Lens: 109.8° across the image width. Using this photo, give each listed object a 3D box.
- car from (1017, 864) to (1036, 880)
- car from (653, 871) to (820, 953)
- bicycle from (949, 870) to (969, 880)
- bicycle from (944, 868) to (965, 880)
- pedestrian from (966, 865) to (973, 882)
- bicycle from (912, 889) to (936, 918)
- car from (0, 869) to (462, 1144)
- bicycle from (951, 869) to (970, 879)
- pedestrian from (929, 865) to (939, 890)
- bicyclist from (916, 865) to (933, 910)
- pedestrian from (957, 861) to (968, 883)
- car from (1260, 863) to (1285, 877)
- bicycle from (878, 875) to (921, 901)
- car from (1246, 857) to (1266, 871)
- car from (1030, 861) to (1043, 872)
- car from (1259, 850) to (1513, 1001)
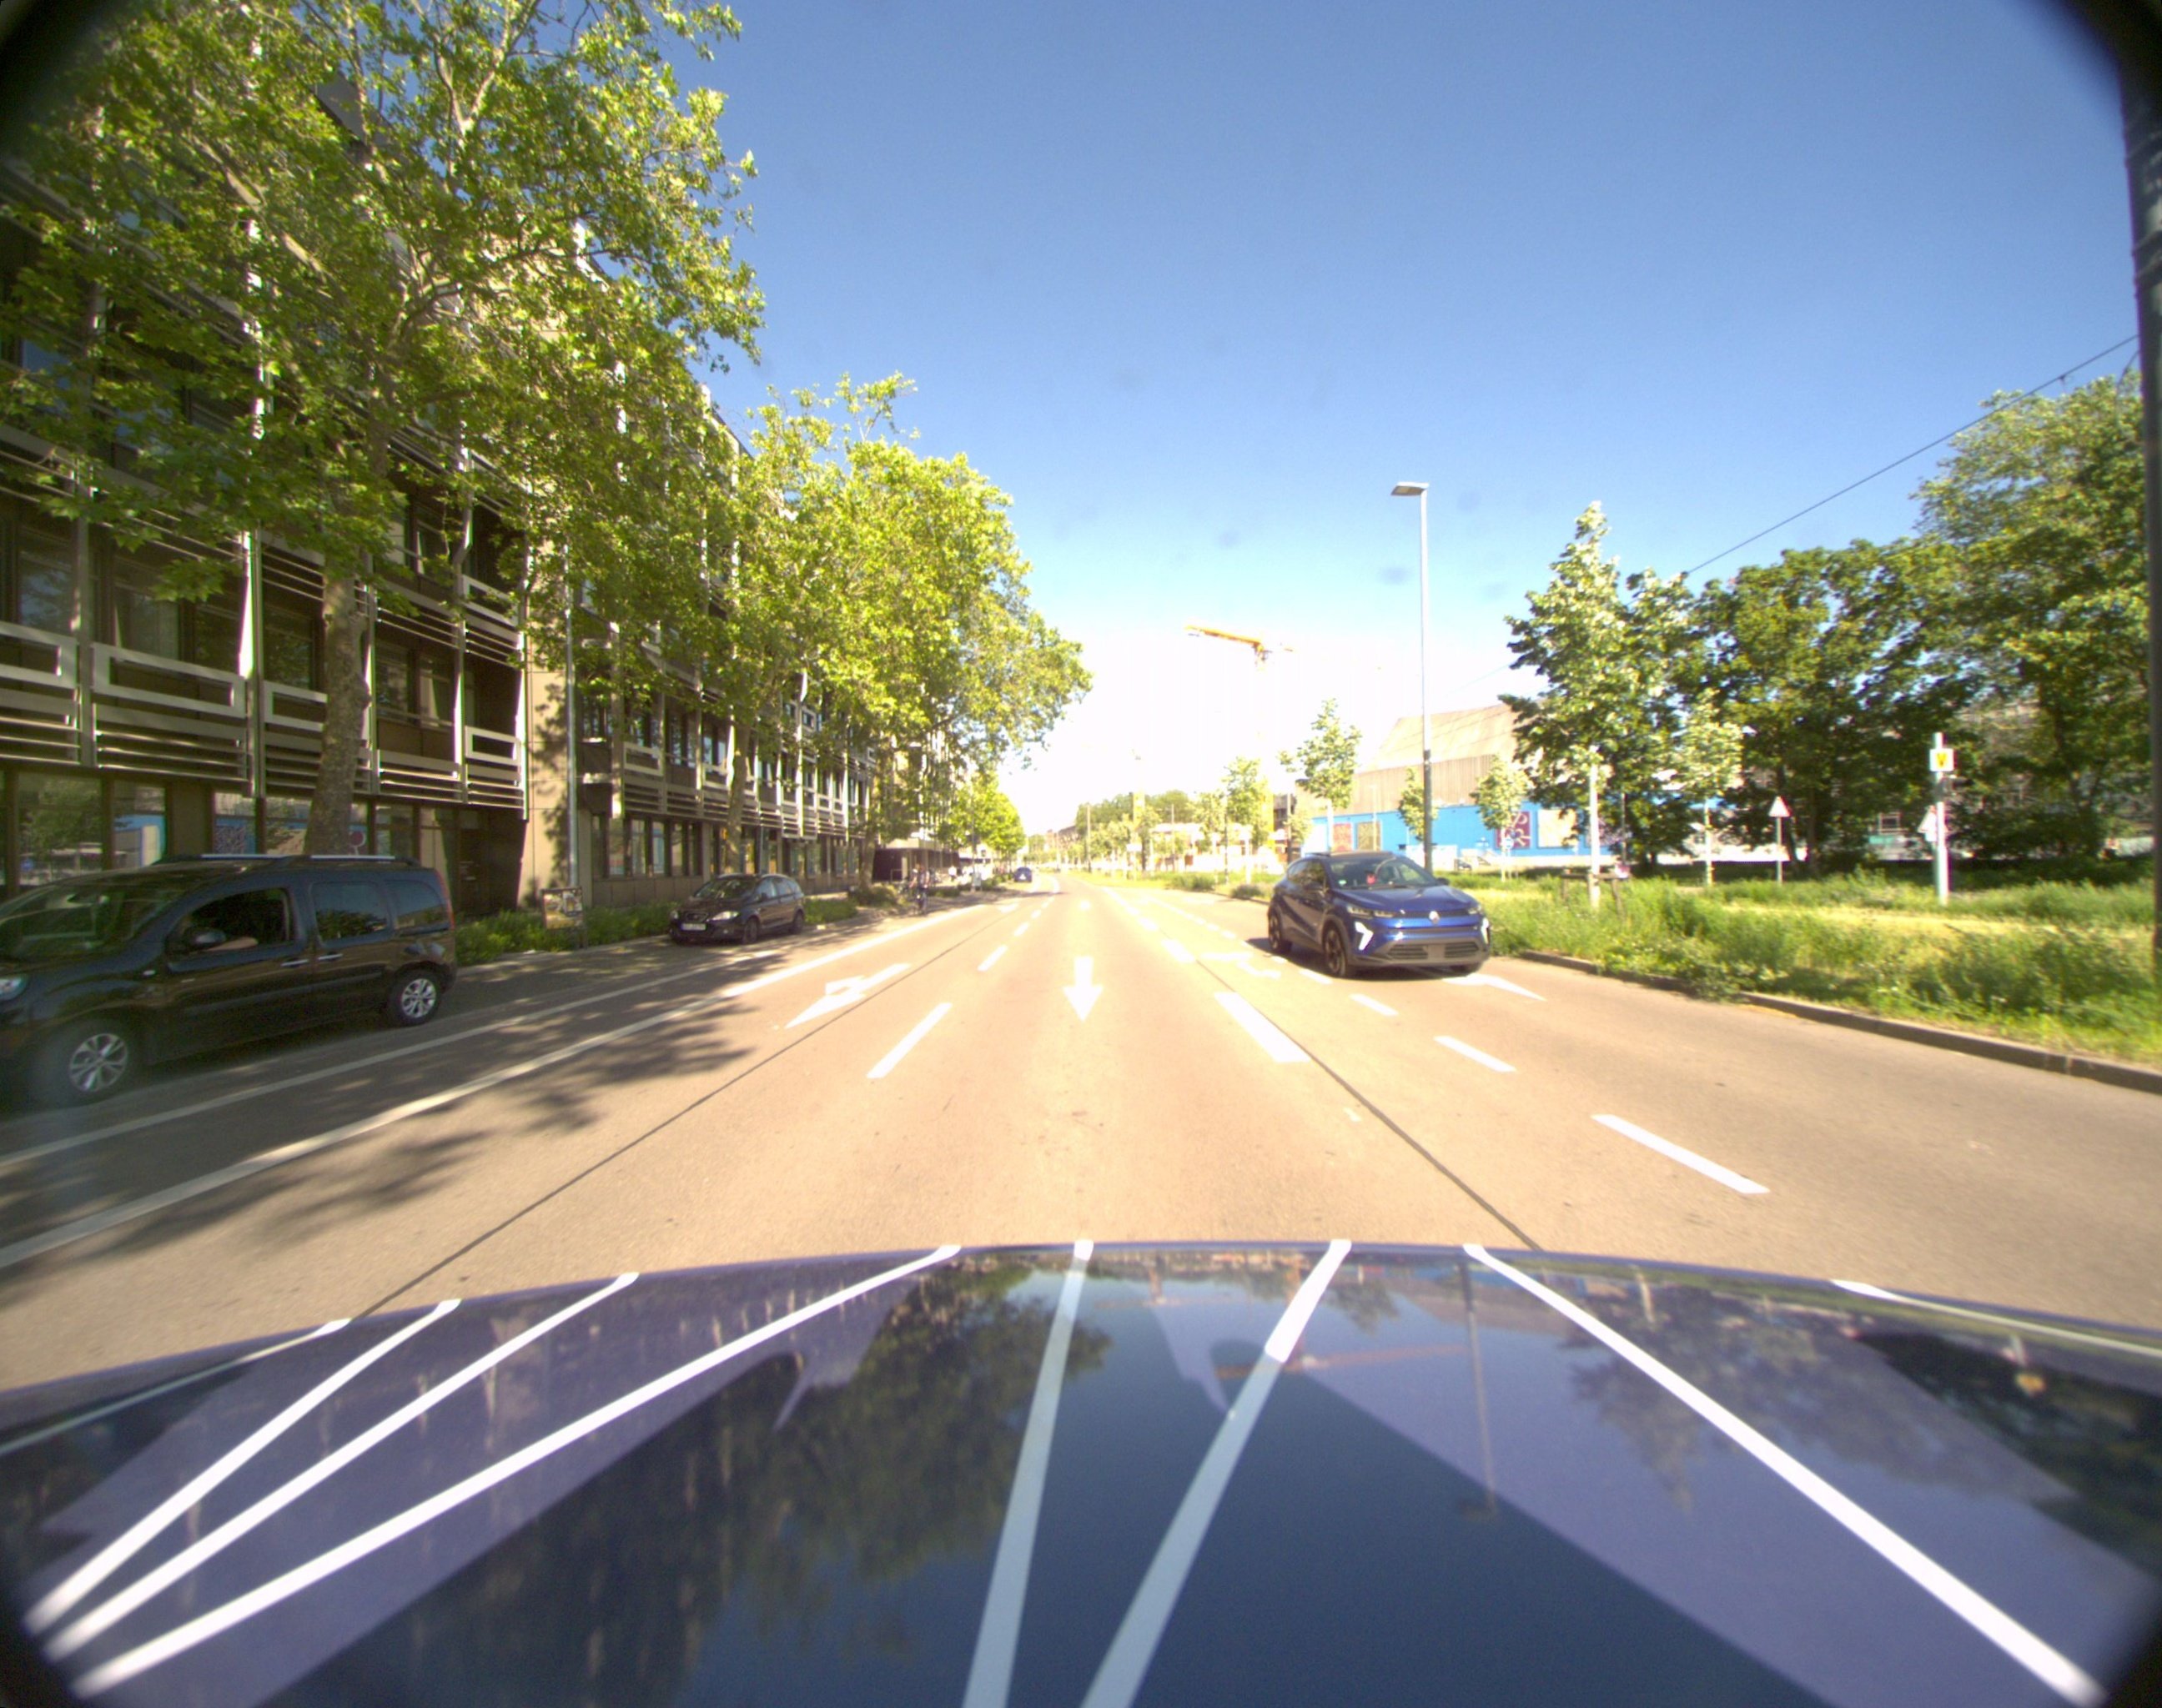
[{"bbox_3d":[-5.846,1.907,81.502,1.854,1.647,4.847,0,-1,-2],"label":"car"},{"bbox_3d":[-8.017,1.264,18.232,1.708,1.633,4.637,1,-1,2],"label":"car"},{"bbox_3d":[-11.914,2.039,74.288,1.862,1.005,0.427,1,0,1],"label":"bicycle"},{"bbox_3d":[-12.119,1.913,72.717,1.862,1.091,0.427,1,0,1],"label":"bicycle"},{"bbox_3d":[-9.943,1.711,67.710,0.512,1.465,0.736,-1,0,0],"label":"pedestrian"},{"bbox_3d":[-5.531,1.732,26.854,0.499,0.900,2.196,-3,0,-4],"label":"bicycle"},{"bbox_3d":[-8.038,1.052,6.675,1.708,1.779,4.192,1,-1,1],"label":"car"},{"bbox_3d":[-11.970,1.979,75.427,1.862,0.933,0.427,1,0,1],"label":"bicycle"},{"bbox_3d":[-10.232,1.624,52.817,0.512,1.691,0.774,-1,0,0],"label":"pedestrian"},{"bbox_3d":[-5.550,1.182,26.932,0.514,1.591,0.536,-1,0,-4],"label":"bicyclist"},{"bbox_3d":[-9.363,1.454,60.077,0.649,1.717,0.803,-1,0,0],"label":"pedestrian"},{"bbox_3d":[20.032,1.626,79.577,1.637,1.390,3.833,-1,-1,-1],"label":"car"},{"bbox_3d":[-8.748,1.645,36.625,1.942,1.229,0.579,0,0,-3],"label":"bicycle"},{"bbox_3d":[23.432,1.302,101.816,1.802,1.787,4.000,-3,0,1],"label":"car"},{"bbox_3d":[-7.829,2.212,133.372,1.822,1.783,4.000,-3,0,1],"label":"car"},{"bbox_3d":[3.893,0.821,10.553,1.749,1.613,4.152,-2,-1,-1],"label":"car"}]
